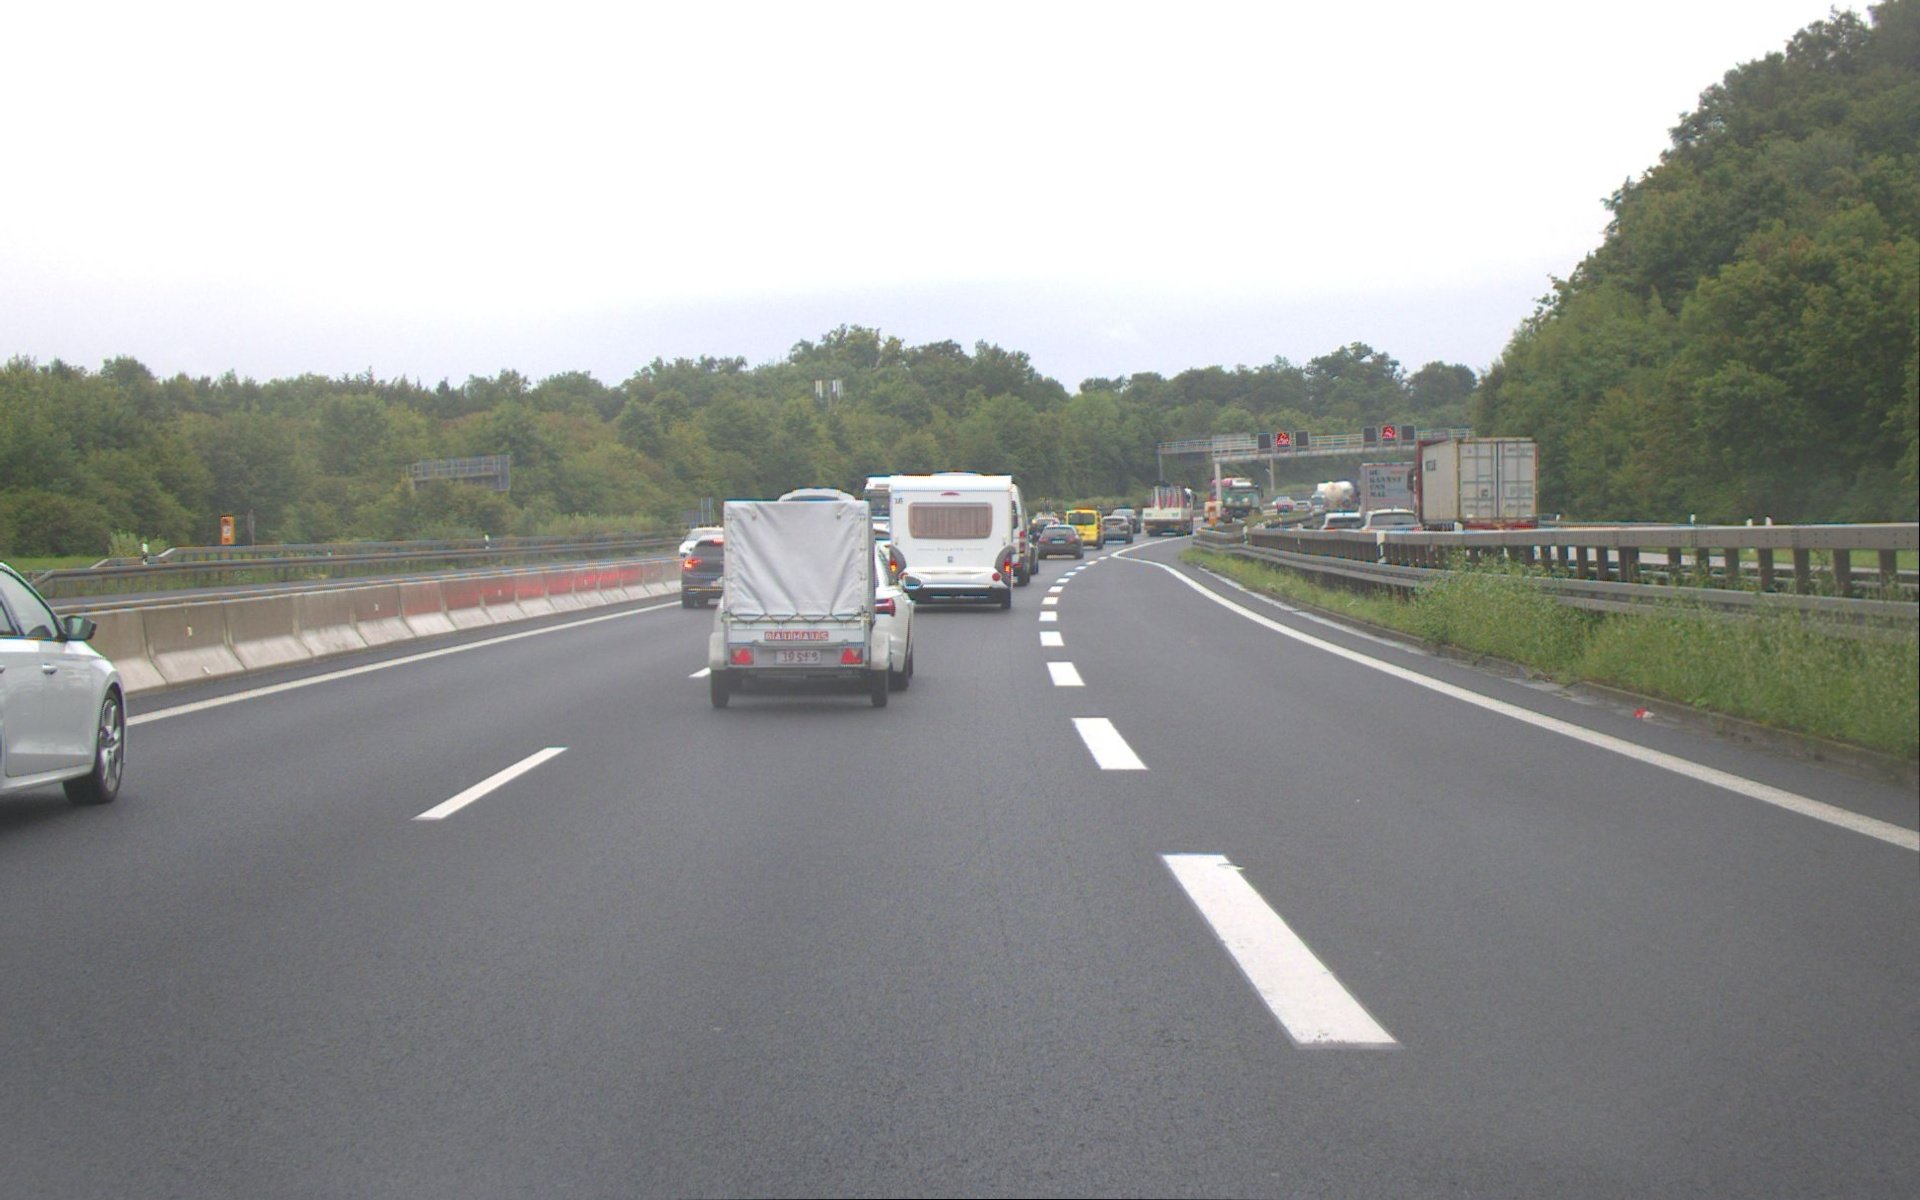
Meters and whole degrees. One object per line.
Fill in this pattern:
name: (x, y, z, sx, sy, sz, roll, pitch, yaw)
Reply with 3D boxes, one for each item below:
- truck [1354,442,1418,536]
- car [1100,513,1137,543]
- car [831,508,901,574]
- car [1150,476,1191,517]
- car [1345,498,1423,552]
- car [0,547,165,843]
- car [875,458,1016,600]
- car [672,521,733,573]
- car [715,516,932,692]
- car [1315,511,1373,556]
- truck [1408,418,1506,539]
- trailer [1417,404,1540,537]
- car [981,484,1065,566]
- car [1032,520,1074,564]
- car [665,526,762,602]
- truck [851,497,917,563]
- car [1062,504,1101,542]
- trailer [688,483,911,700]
truck: (22.554, -5.786, 181.769, 3.216, 4.650, 13.029, -1, 1, 7)
car: (8.950, -4.057, 194.075, 2.037, 1.677, 4.000, -1, 1, 3)
car: (-2.782, -1.748, 102.544, 1.993, 1.912, 4.000, -1, 1, 0)
car: (14.066, -6.892, 229.548, 2.516, 2.566, 5.311, -1, 1, 6)
car: (11.815, -2.076, 95.980, 1.667, 1.378, 4.126, -3, 1, 1)
car: (-5.623, 0.464, 17.978, 1.818, 1.451, 4.778, -1, 1, 0)
car: (-0.221, -1.337, 66.020, 2.507, 2.576, 5.699, -1, 1, 1)
car: (-9.780, -1.999, 130.878, 1.738, 1.912, 4.316, -1, 1, 3)
car: (-1.290, 0.007, 34.362, 1.818, 1.610, 4.777, -1, 1, 2)
car: (14.074, -2.417, 126.162, 1.770, 1.604, 4.643, -1, 1, 2)
truck: (16.660, -4.033, 115.589, 2.616, 3.871, 6.391, -1, 1, 3)
trailer: (16.397, -3.989, 109.464, 2.604, 3.881, 12.490, -1, 1, 3)
car: (1.659, -1.944, 89.764, 1.676, 2.060, 3.999, -1, 1, 8)
car: (3.881, -2.413, 143.352, 1.676, 1.806, 4.000, -1, 1, 2)
car: (-4.926, -0.731, 68.974, 1.675, 1.451, 4.000, -1, 1, -1)
truck: (-4.843, -4.489, 221.428, 2.788, 4.078, 12.297, -1, 1, 5)
car: (6.087, -3.841, 172.043, 1.676, 1.806, 3.999, -1, 1, 6)
trailer: (-1.377, -0.096, 30.894, 1.676, 1.806, 4.000, -1, 1, 2)
